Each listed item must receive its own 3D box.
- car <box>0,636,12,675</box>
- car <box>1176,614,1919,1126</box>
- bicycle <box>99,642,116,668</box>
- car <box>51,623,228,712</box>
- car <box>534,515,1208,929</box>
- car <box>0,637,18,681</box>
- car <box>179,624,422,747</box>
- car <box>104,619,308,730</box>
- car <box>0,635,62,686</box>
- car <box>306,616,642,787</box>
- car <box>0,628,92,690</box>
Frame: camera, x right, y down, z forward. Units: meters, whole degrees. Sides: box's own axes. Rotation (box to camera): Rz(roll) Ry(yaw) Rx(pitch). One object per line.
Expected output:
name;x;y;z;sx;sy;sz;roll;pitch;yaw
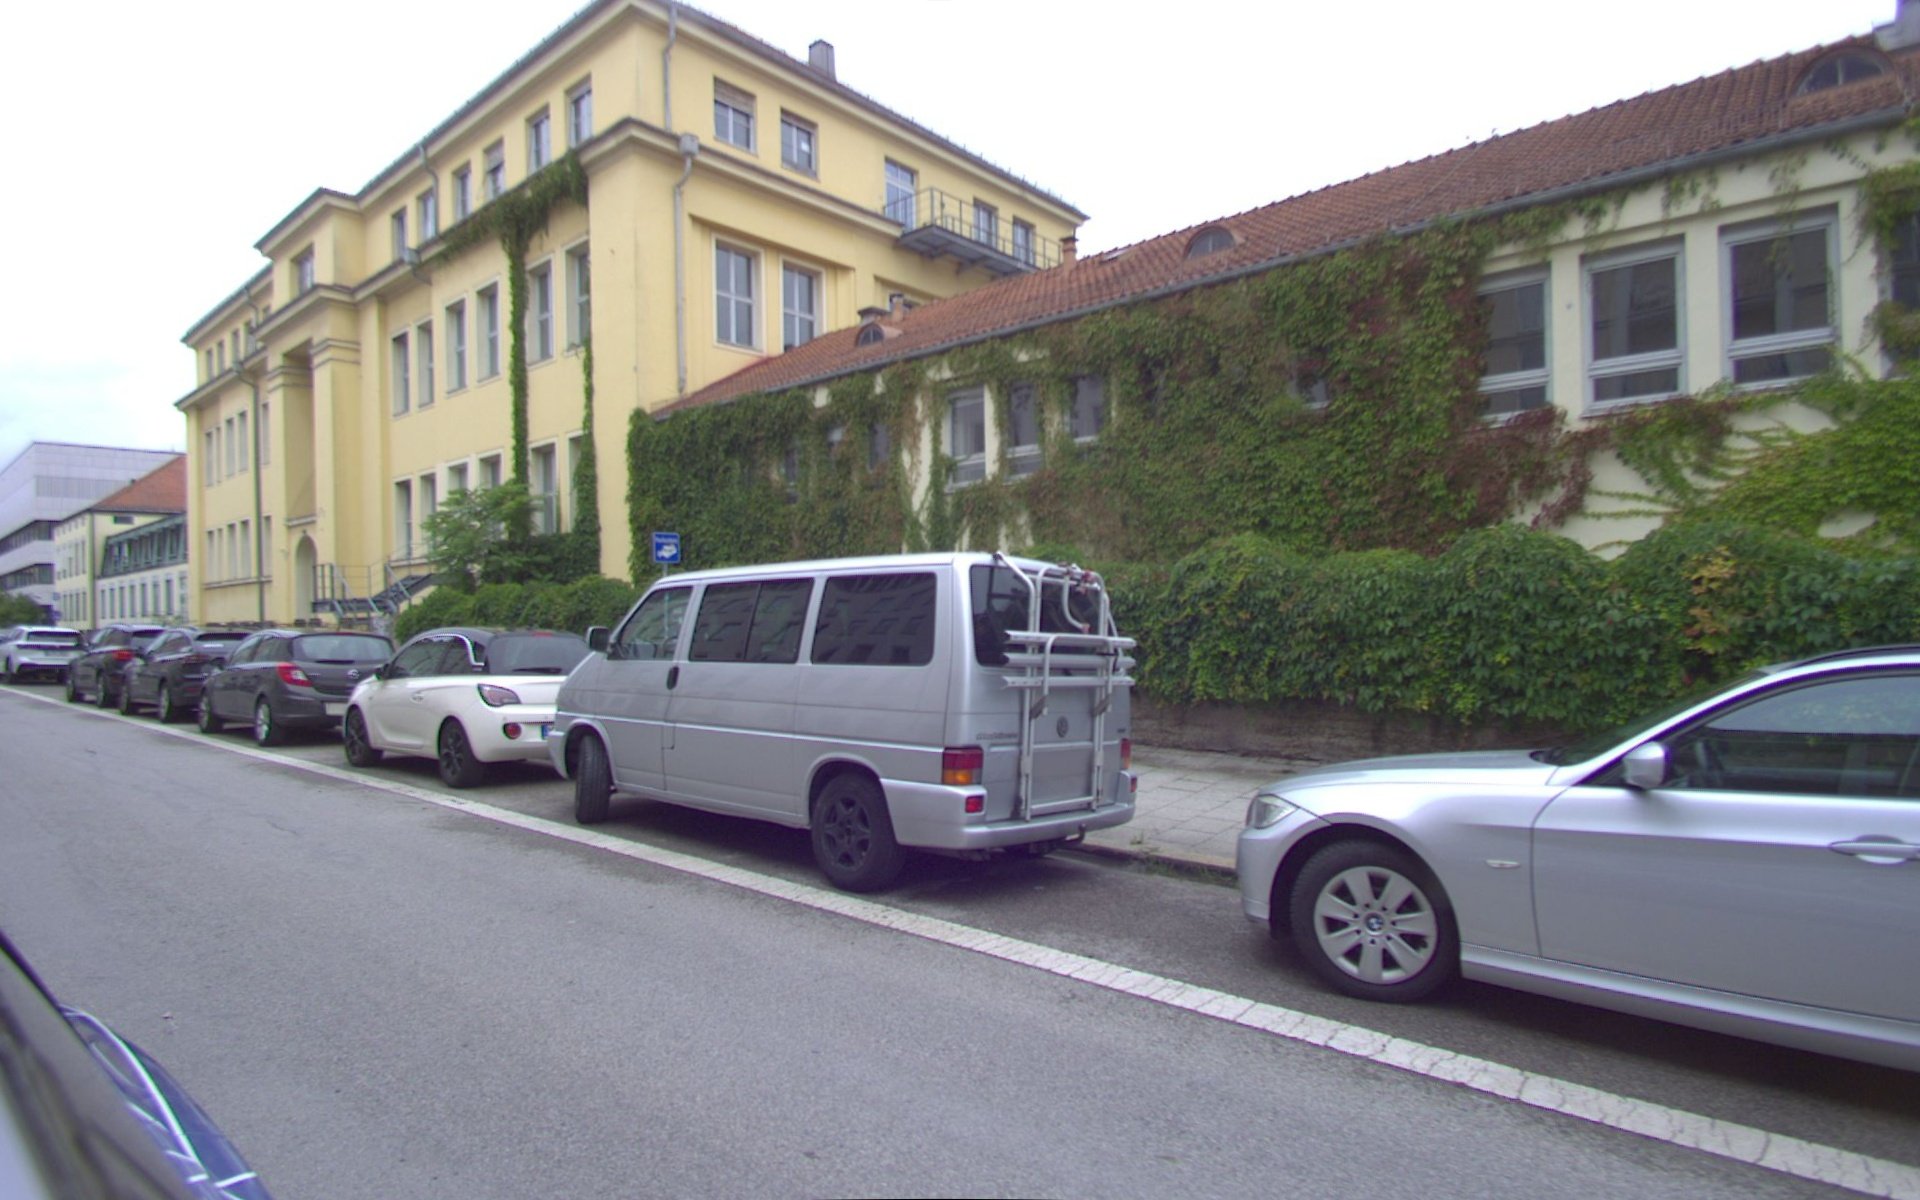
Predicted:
car;-38.439;2.161;39.408;4.649;1.442;1.766;-2;-1;41
car;3.257;0.793;3.435;4.768;1.425;1.636;-2;-4;41
bicycle;-37.186;2.377;44.144;0.530;1.071;1.643;-1;-1;-39
car;-16.632;1.316;20.435;4.813;1.599;1.771;-2;-4;39
car;-0.897;0.643;6.968;4.772;1.904;1.867;-2;-4;42
car;-34.722;2.045;35.708;4.146;1.508;1.681;-2;-5;41
car;-9.152;1.091;13.913;4.248;1.441;1.587;-1;-4;40
car;-12.828;1.180;17.115;4.461;1.642;1.707;-2;-3;39
car;-30.620;1.908;32.654;4.490;1.514;1.686;-2;-6;39
car;-5.154;0.938;10.513;4.014;1.452;1.575;-2;-3;39
car;-26.915;1.662;29.356;4.850;1.646;1.729;-2;-2;38
